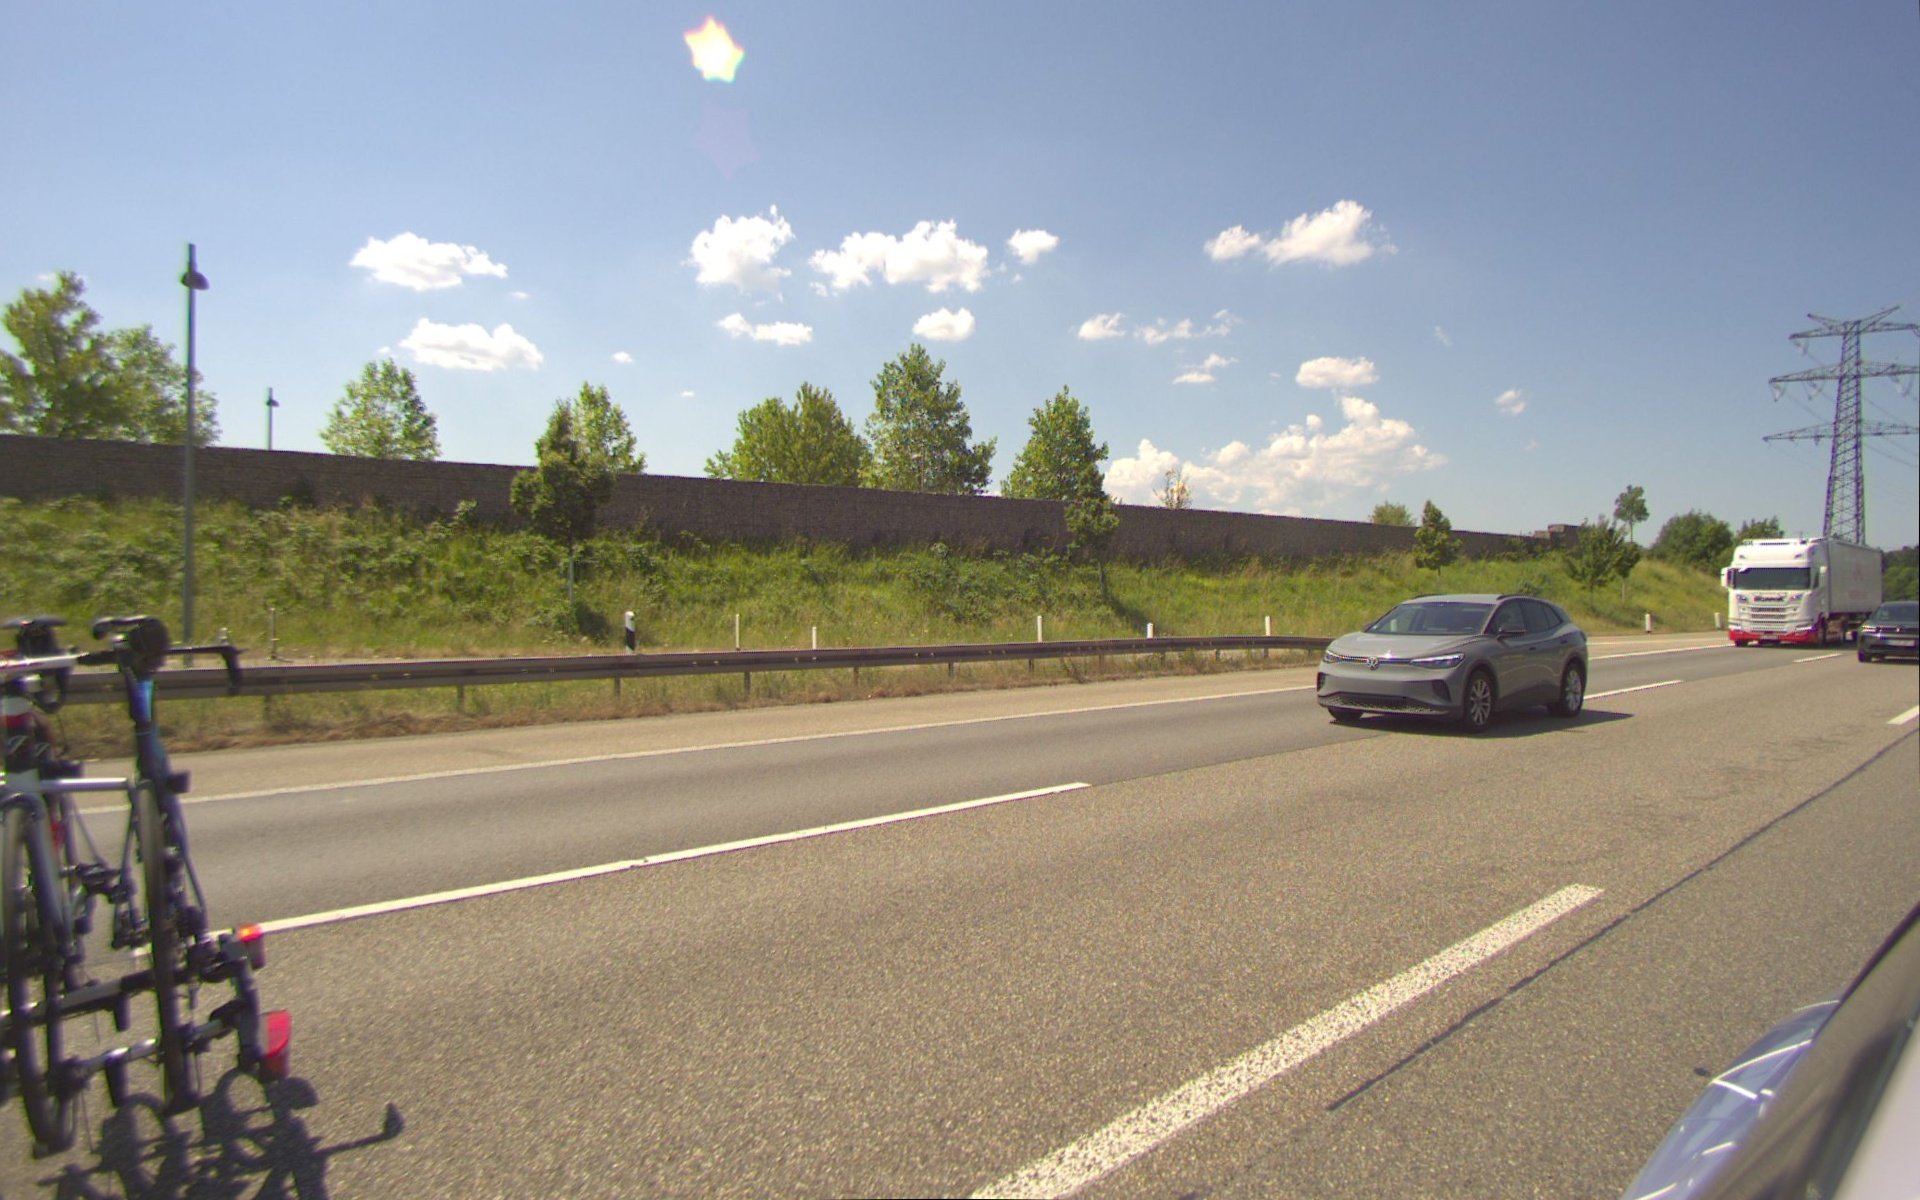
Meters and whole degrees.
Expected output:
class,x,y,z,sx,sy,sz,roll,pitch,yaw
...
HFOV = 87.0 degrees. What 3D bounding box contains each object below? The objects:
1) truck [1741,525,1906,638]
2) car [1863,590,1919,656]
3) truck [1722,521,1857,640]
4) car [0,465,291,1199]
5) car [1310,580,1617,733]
class,x,y,z,sx,sy,sz,roll,pitch,yaw
truck,34.765,-0.654,40.489,12.282,3.957,3.074,0,0,-40
car,25.430,0.569,26.613,3.975,1.667,1.954,0,0,-40
truck,29.520,-0.646,36.025,3.779,3.957,3.074,0,-1,-40
car,-4.026,0.604,0.932,5.503,1.657,1.954,0,0,-41
car,6.632,0.605,13.117,4.503,1.657,1.872,0,0,-39
